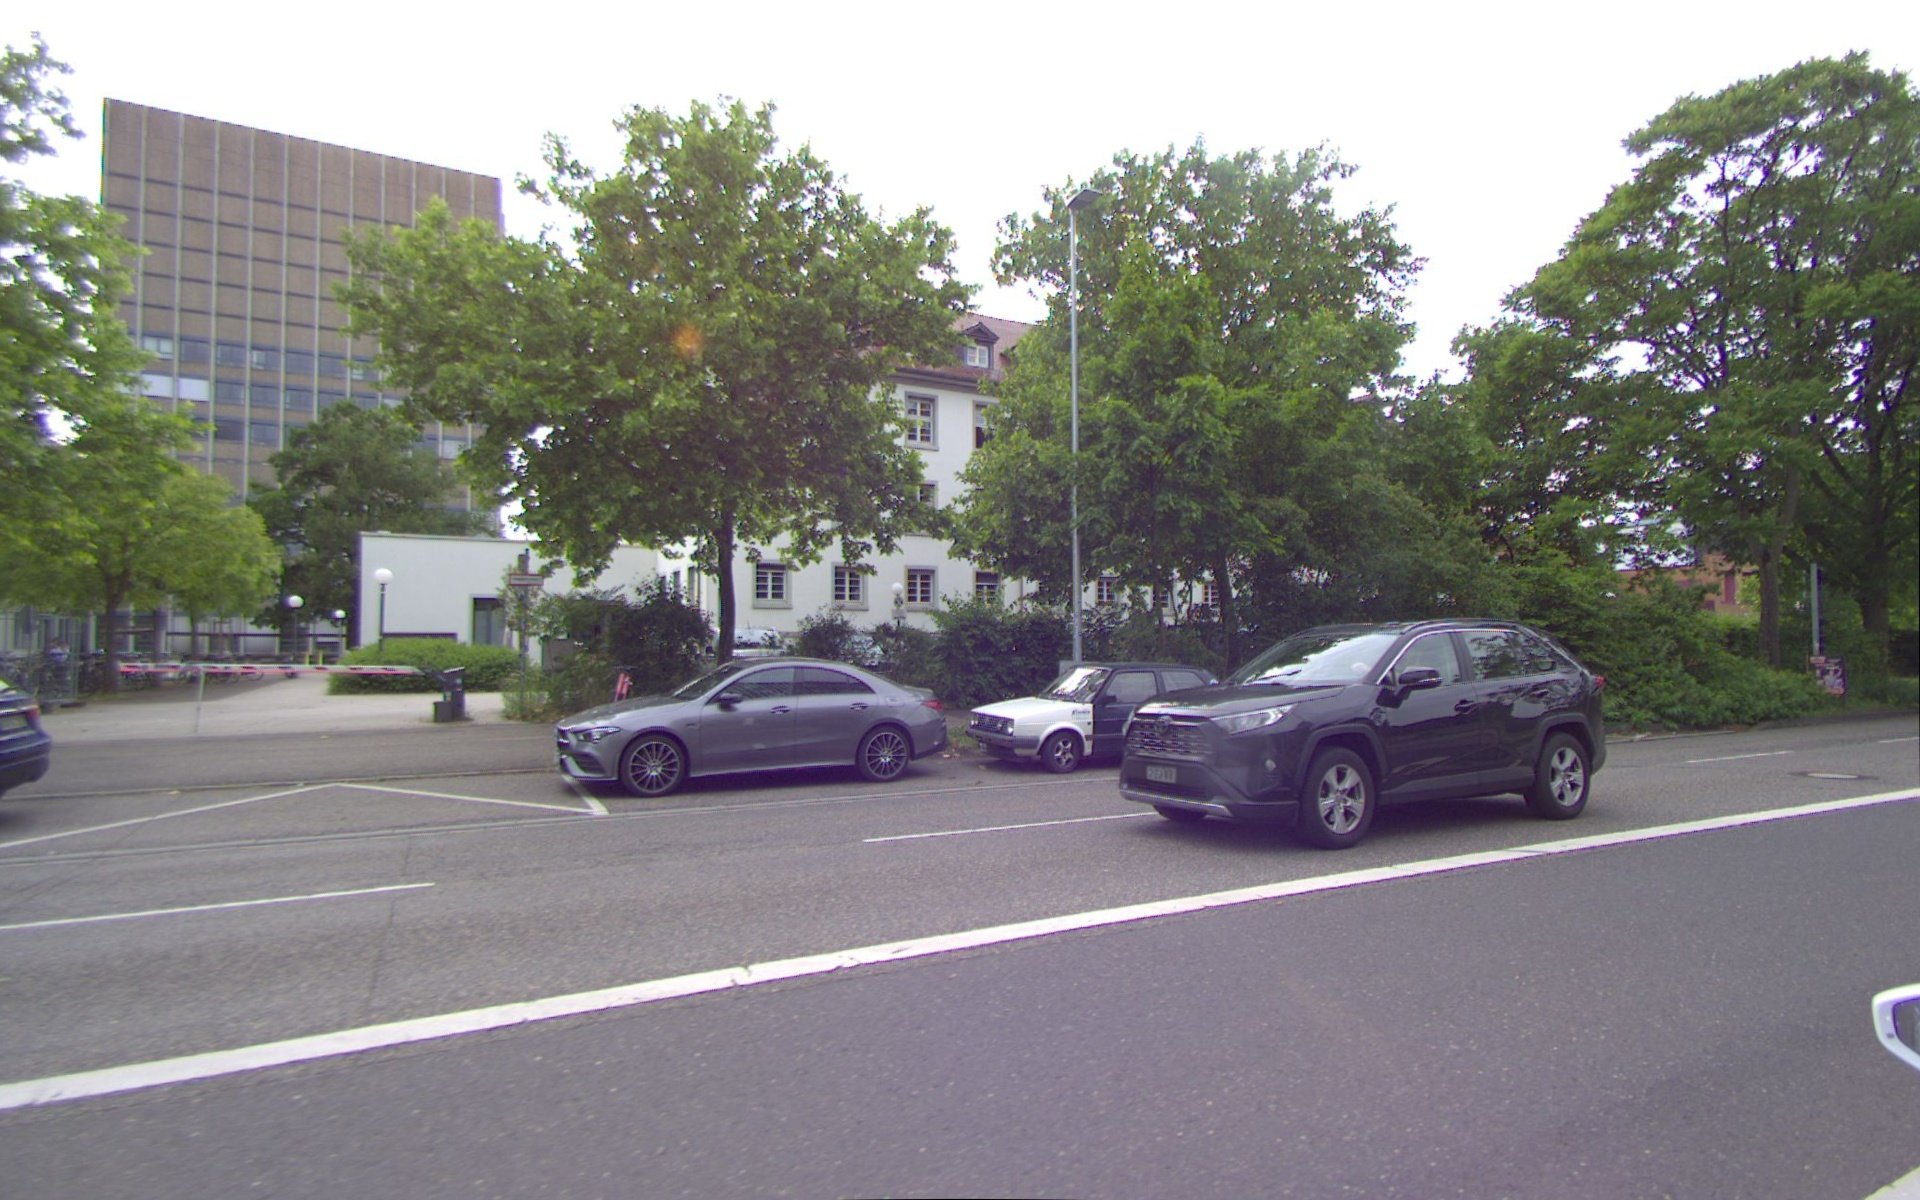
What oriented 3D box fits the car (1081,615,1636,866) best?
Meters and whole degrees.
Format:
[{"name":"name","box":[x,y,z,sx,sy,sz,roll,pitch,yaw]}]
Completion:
[{"name":"car","box":[3.385,1.011,8.406,4.461,1.614,1.896,2,-4,-29]}]

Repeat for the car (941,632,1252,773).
[{"name":"car","box":[1.939,1.335,14.164,3.951,1.712,1.985,2,-2,-29]}]

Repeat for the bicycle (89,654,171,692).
[{"name":"bicycle","box":[-28.045,2.448,34.011,0.906,1.220,2.663,0,-3,-10]}]

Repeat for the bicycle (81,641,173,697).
[{"name":"bicycle","box":[-25.023,2.059,30.262,0.906,1.579,2.663,0,-3,-10]}]

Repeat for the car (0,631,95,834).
[{"name":"car","box":[-10.153,1.062,8.027,4.533,1.629,1.852,1,-2,-27]}]

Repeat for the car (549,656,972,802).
[{"name":"car","box":[-2.341,1.409,12.052,4.667,1.443,1.868,1,-3,-27]}]

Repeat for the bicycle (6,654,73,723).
[{"name":"bicycle","box":[-22.736,2.148,24.845,0.713,1.614,2.387,2,-4,-31]}]

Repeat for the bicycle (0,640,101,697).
[{"name":"bicycle","box":[-26.729,1.992,29.440,0.906,1.579,3.084,0,-3,-10]}]

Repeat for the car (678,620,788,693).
[{"name":"car","box":[-5.550,1.312,24.288,1.632,1.623,3.569,1,-2,-30]}]
